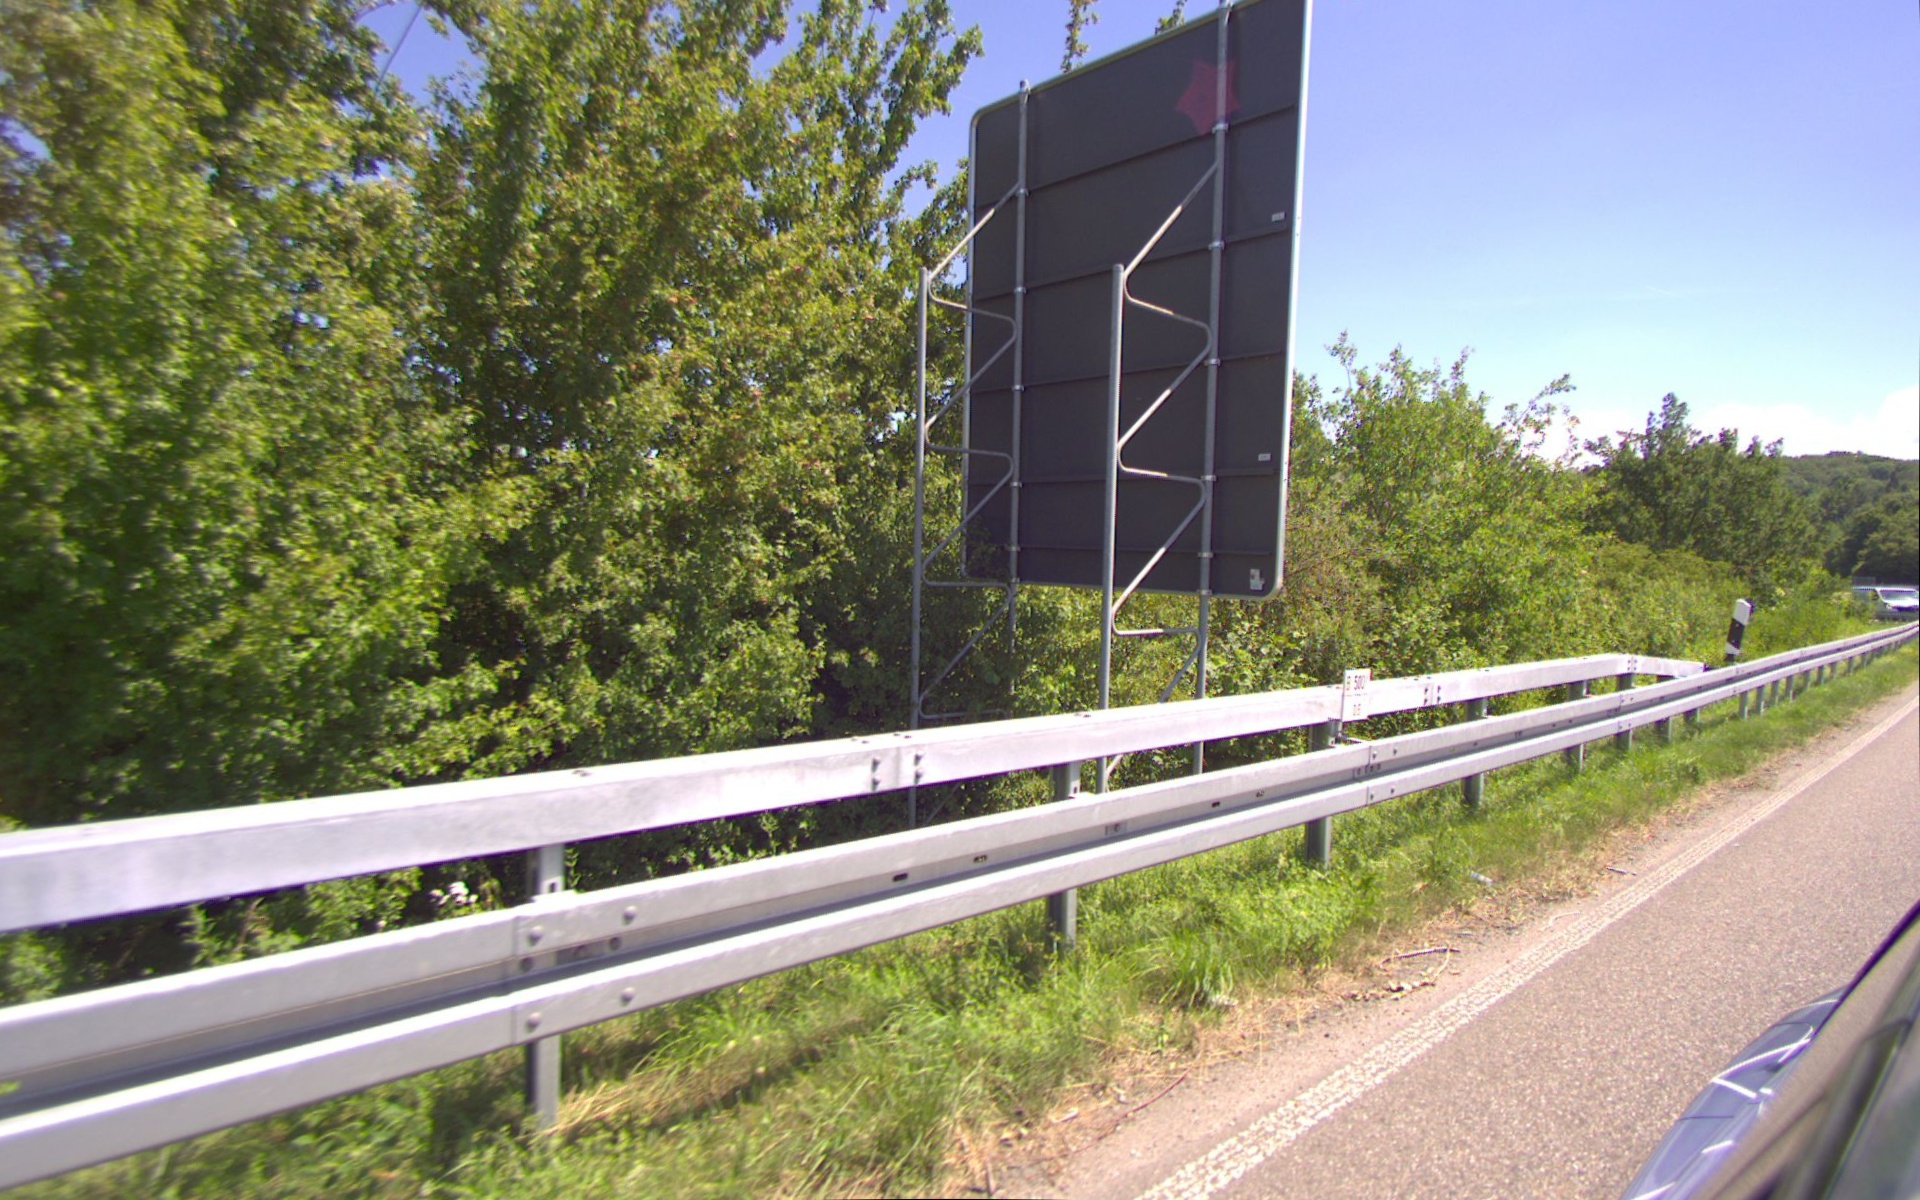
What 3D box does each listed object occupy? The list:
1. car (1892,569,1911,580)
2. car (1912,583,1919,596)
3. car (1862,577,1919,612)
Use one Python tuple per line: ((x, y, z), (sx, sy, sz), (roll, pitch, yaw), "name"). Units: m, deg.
((175.308, -4.789, 188.489), (1.988, 1.916, 4.851), (2, 3, 35), "car")
((122.527, -1.337, 128.636), (1.868, 1.623, 3.943), (2, 3, 40), "car")
((50.172, -0.316, 53.817), (1.864, 1.755, 4.437), (0, 2, 23), "car")
